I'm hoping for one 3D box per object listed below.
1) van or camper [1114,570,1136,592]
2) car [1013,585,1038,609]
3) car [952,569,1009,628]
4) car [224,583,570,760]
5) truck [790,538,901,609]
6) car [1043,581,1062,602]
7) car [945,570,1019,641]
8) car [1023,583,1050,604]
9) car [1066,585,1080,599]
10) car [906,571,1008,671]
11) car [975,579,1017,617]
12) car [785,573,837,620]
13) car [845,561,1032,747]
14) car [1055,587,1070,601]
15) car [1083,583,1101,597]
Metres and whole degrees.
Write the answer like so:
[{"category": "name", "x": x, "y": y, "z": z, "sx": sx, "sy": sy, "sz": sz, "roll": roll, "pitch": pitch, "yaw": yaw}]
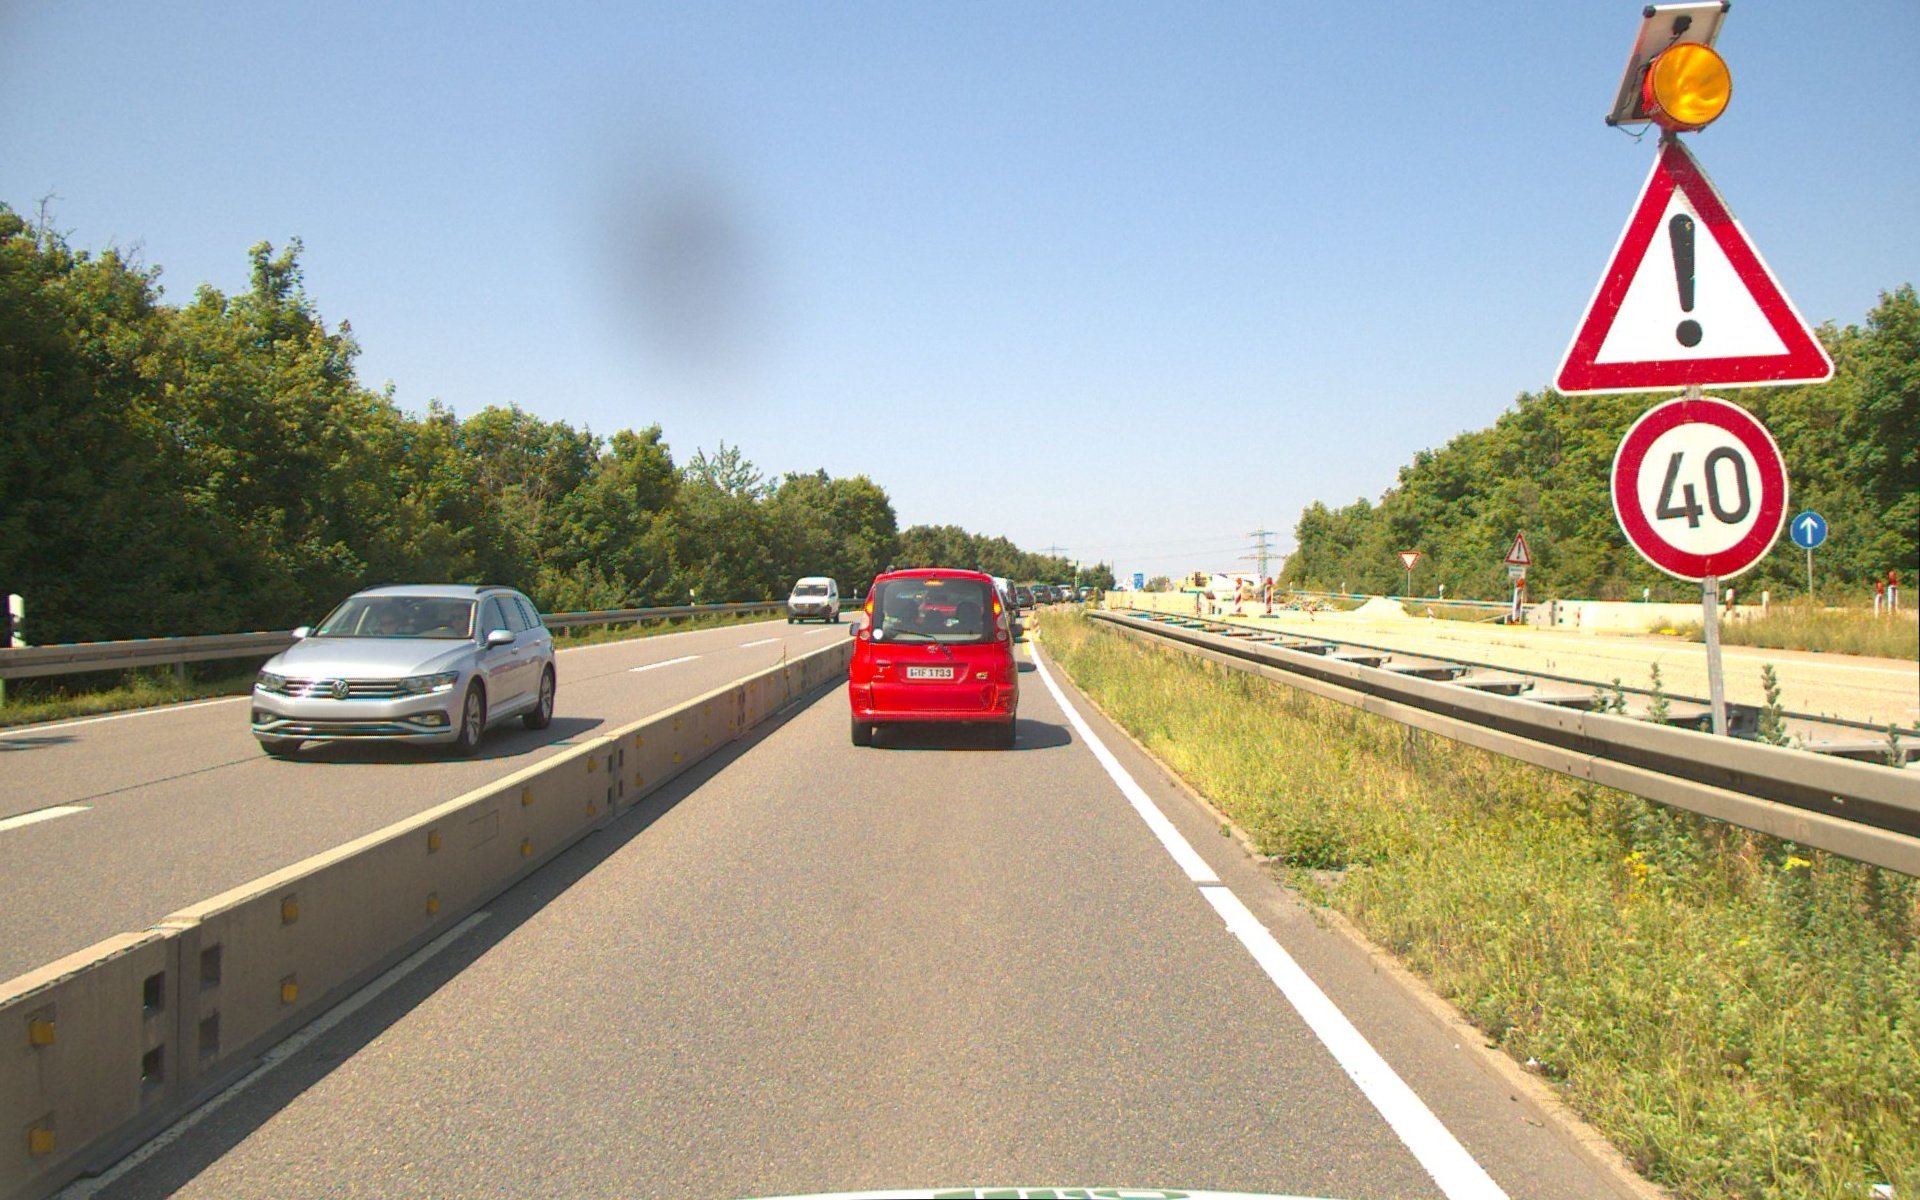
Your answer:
[{"category": "van or camper", "x": 21.188, "y": -2.398, "z": 213.156, "sx": 2.281, "sy": 2.754, "sz": 4.592, "roll": -1, "pitch": 0, "yaw": -1}, {"category": "car", "x": 3.961, "y": -0.191, "z": 100.889, "sx": 1.471, "sy": 1.476, "sz": 3.326, "roll": 0, "pitch": 0, "yaw": 1}, {"category": "car", "x": 0.698, "y": -0.067, "z": 59.174, "sx": 1.953, "sy": 2.038, "sz": 4.000, "roll": 1, "pitch": 0, "yaw": -1}, {"category": "car", "x": -5.133, "y": 0.576, "z": 15.759, "sx": 1.909, "sy": 1.446, "sz": 4.351, "roll": 0, "pitch": 0, "yaw": -2}, {"category": "truck", "x": -9.139, "y": -2.086, "z": 132.838, "sx": 8.440, "sy": 5.469, "sz": 3.390, "roll": -1, "pitch": 0, "yaw": 2}, {"category": "car", "x": 7.841, "y": -0.733, "z": 140.780, "sx": 1.471, "sy": 1.767, "sz": 3.171, "roll": -1, "pitch": 0, "yaw": 2}, {"category": "car", "x": 0.613, "y": 0.124, "z": 45.895, "sx": 1.952, "sy": 1.870, "sz": 4.001, "roll": 0, "pitch": 0, "yaw": 1}, {"category": "car", "x": 5.836, "y": -0.509, "z": 126.158, "sx": 1.952, "sy": 1.612, "sz": 4.002, "roll": 0, "pitch": 0, "yaw": 3}, {"category": "car", "x": 11.788, "y": -0.836, "z": 172.801, "sx": 1.470, "sy": 1.476, "sz": 3.171, "roll": 0, "pitch": 0, "yaw": 3}, {"category": "car", "x": -0.003, "y": 0.345, "z": 31.171, "sx": 1.792, "sy": 1.752, "sz": 4.001, "roll": 0, "pitch": 0, "yaw": 1}, {"category": "car", "x": 1.684, "y": -0.099, "z": 78.796, "sx": 1.952, "sy": 1.780, "sz": 4.000, "roll": 0, "pitch": 0, "yaw": 0}, {"category": "car", "x": -5.921, "y": -0.163, "z": 66.132, "sx": 1.720, "sy": 1.795, "sz": 4.283, "roll": -1, "pitch": 0, "yaw": -1}, {"category": "car", "x": -0.209, "y": 0.487, "z": 17.213, "sx": 1.716, "sy": 1.702, "sz": 4.000, "roll": 0, "pitch": 0, "yaw": -1}, {"category": "car", "x": 9.743, "y": -0.602, "z": 156.580, "sx": 1.391, "sy": 1.321, "sz": 2.880, "roll": 0, "pitch": 0, "yaw": 3}, {"category": "car", "x": 15.643, "y": -1.159, "z": 196.006, "sx": 1.952, "sy": 1.579, "sz": 4.001, "roll": 0, "pitch": 0, "yaw": 1}]
